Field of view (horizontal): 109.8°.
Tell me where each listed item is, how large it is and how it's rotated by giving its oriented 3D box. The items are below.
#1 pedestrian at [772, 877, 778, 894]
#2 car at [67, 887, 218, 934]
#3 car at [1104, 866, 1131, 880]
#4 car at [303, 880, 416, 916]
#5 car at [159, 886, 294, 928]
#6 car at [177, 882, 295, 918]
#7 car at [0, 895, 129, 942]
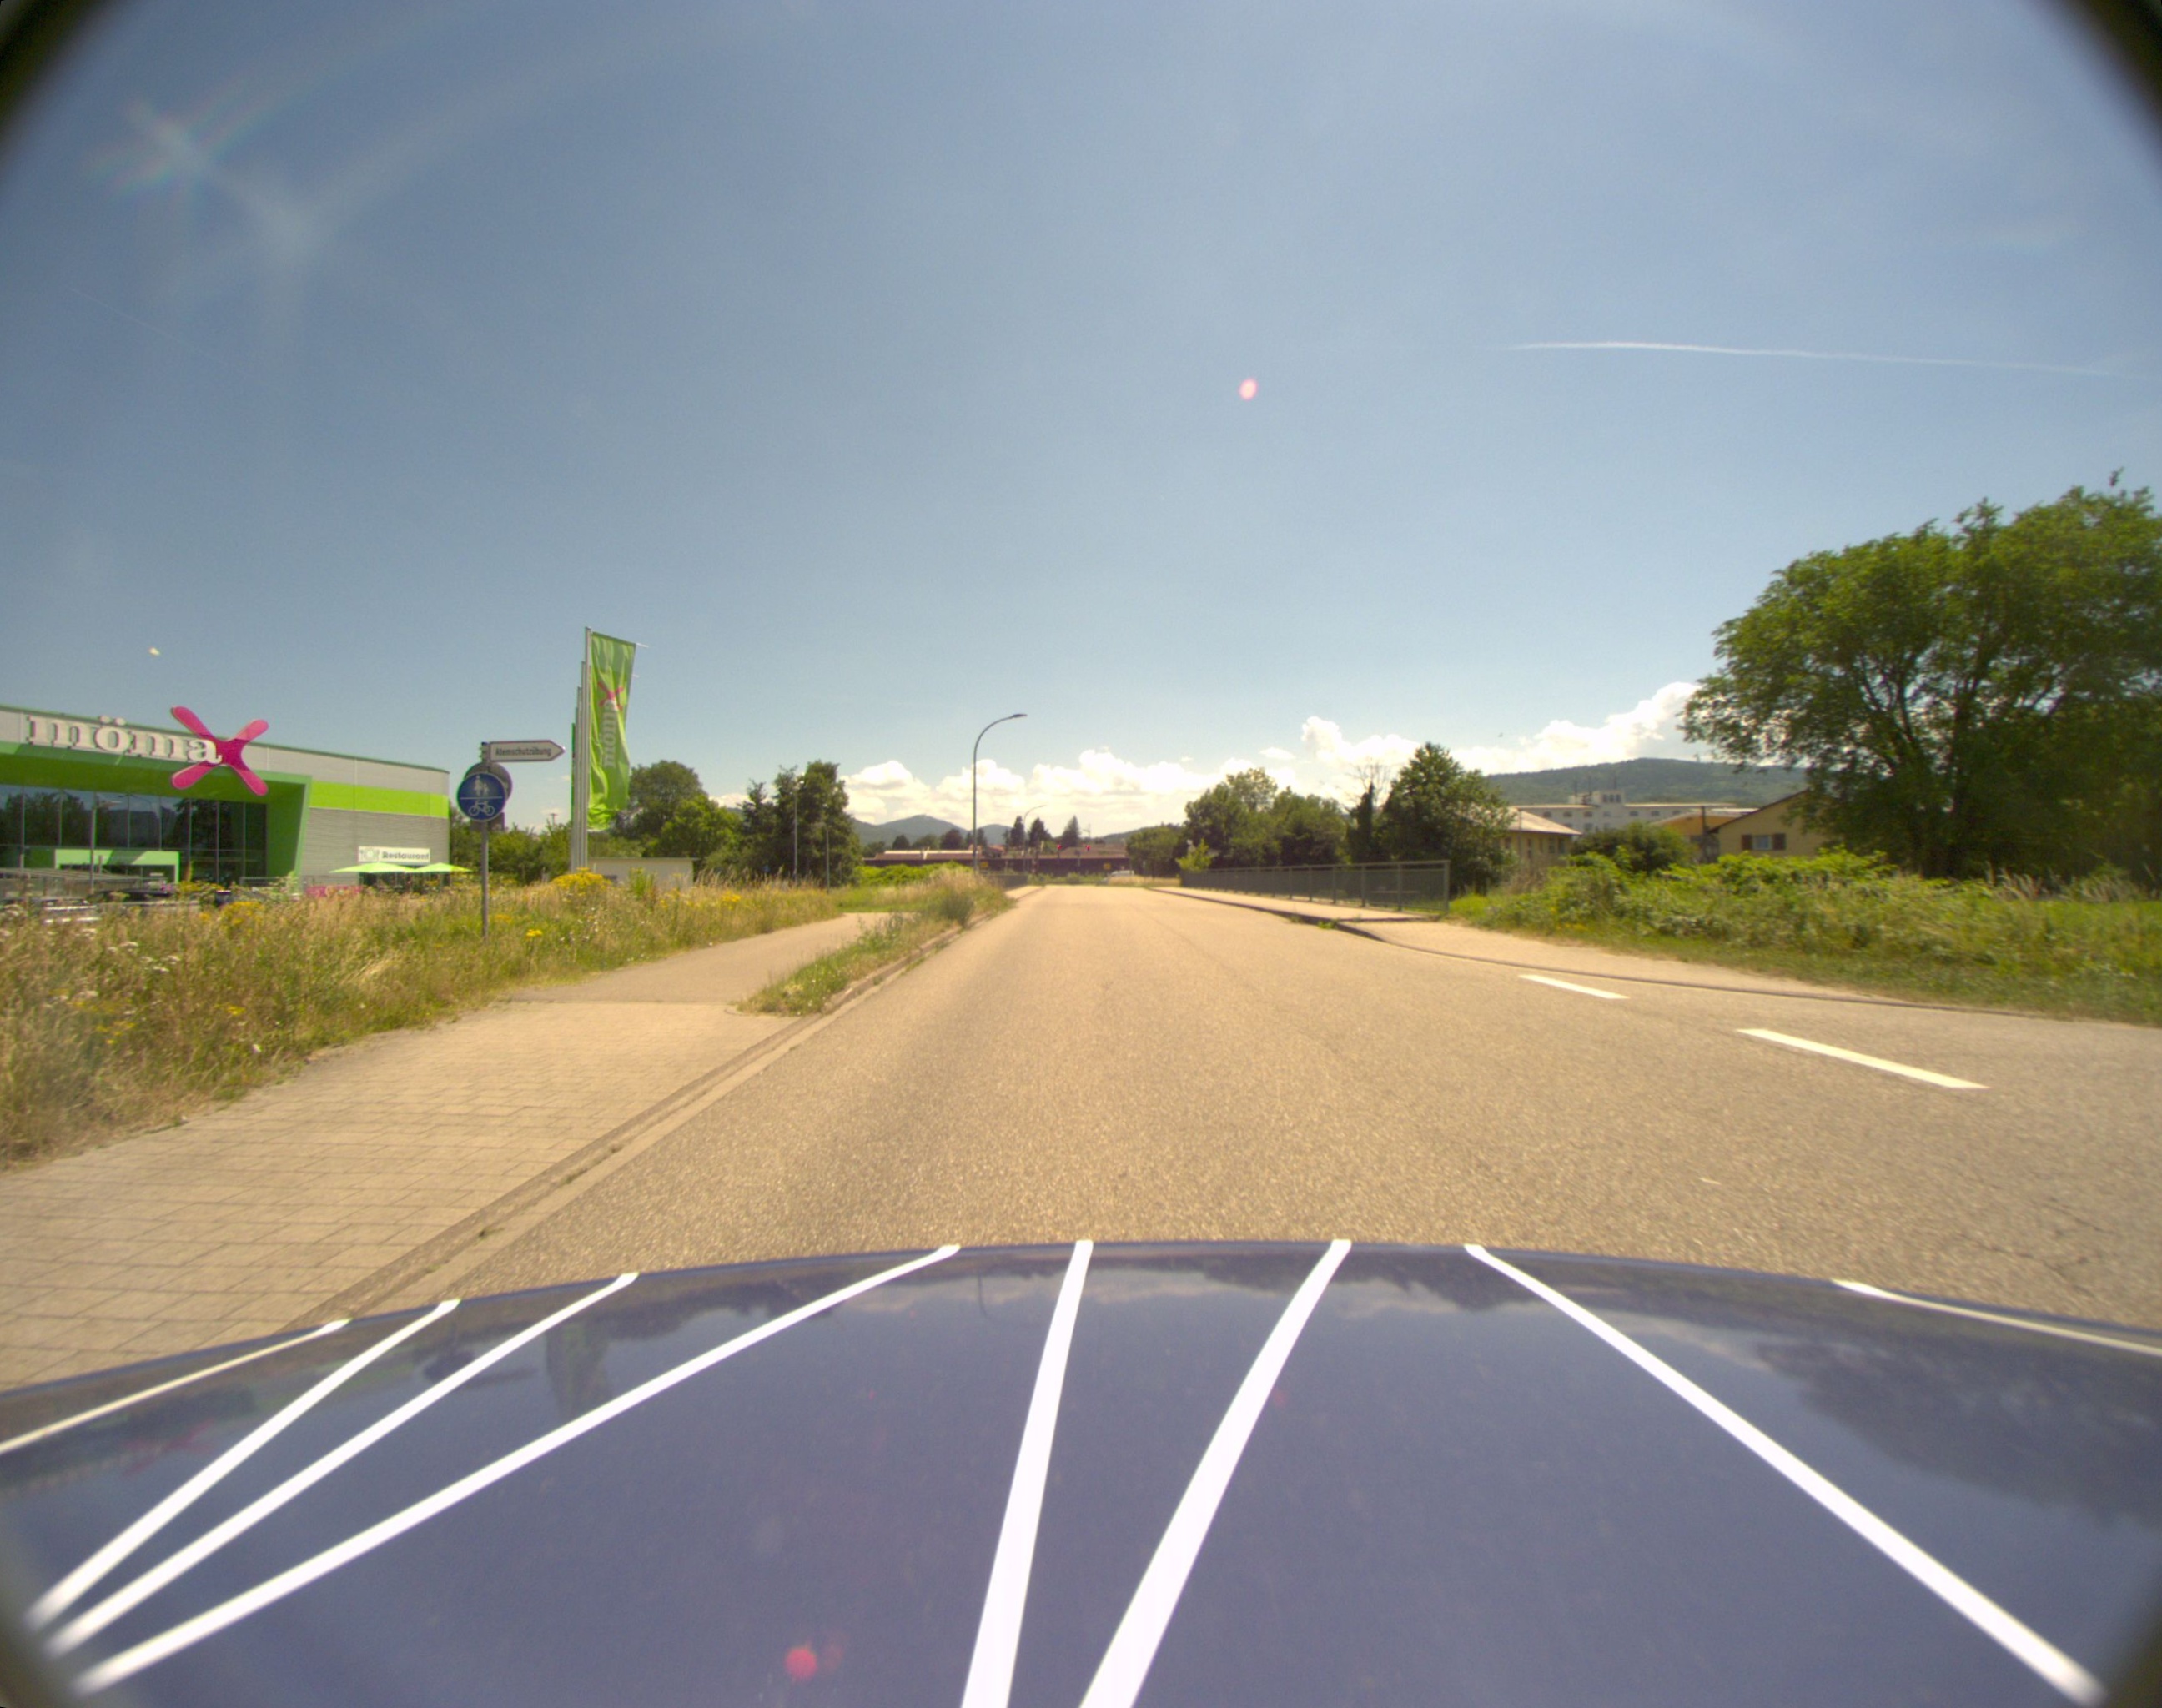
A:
[{"bbox_3d":[-27.603,2.831,68.515,0.439,1.529,0.413,-1,-2,-29],"label":"pedestrian"},{"bbox_3d":[-37.501,2.221,30.426,3.995,1.687,1.916,0,0,6],"label":"car"},{"bbox_3d":[6.409,3.364,133.610,4.677,2.320,2.001,-2,0,6],"label":"car"},{"bbox_3d":[-35.808,2.181,37.788,3.995,1.644,1.916,0,0,6],"label":"car"},{"bbox_3d":[-37.263,2.303,33.204,3.995,1.644,1.916,0,0,6],"label":"car"},{"bbox_3d":[-41.955,2.275,37.795,3.995,1.644,1.916,0,0,6],"label":"car"},{"bbox_3d":[-38.126,2.335,27.984,3.995,1.538,1.916,0,0,6],"label":"car"}]
